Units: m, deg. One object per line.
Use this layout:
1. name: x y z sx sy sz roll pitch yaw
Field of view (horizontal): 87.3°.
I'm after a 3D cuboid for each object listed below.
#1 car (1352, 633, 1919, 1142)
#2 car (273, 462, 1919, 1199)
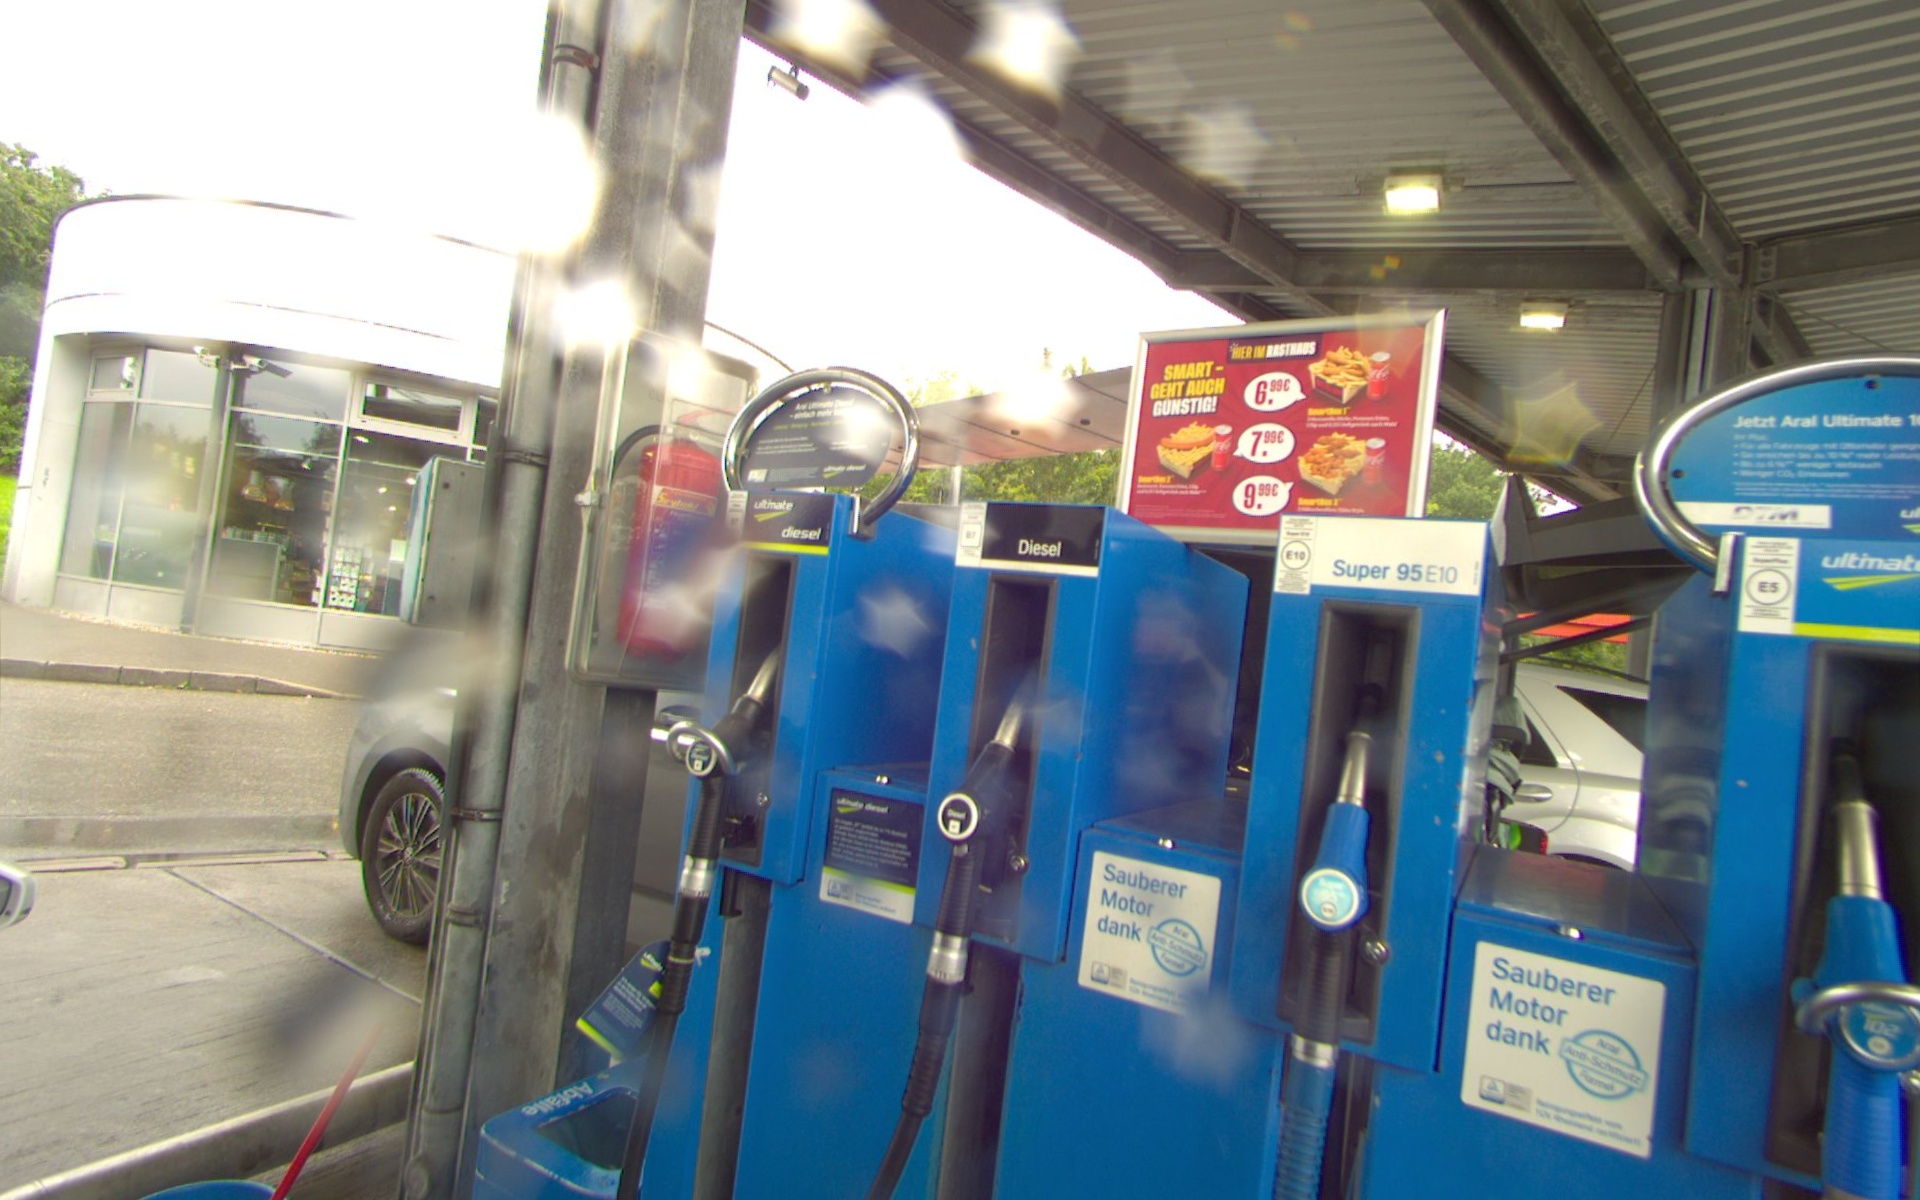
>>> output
1. car: 4.490 1.372 4.816 4.464 1.819 1.865 6 -2 32
2. car: -0.146 0.647 3.673 5.055 1.819 1.865 6 -2 32
